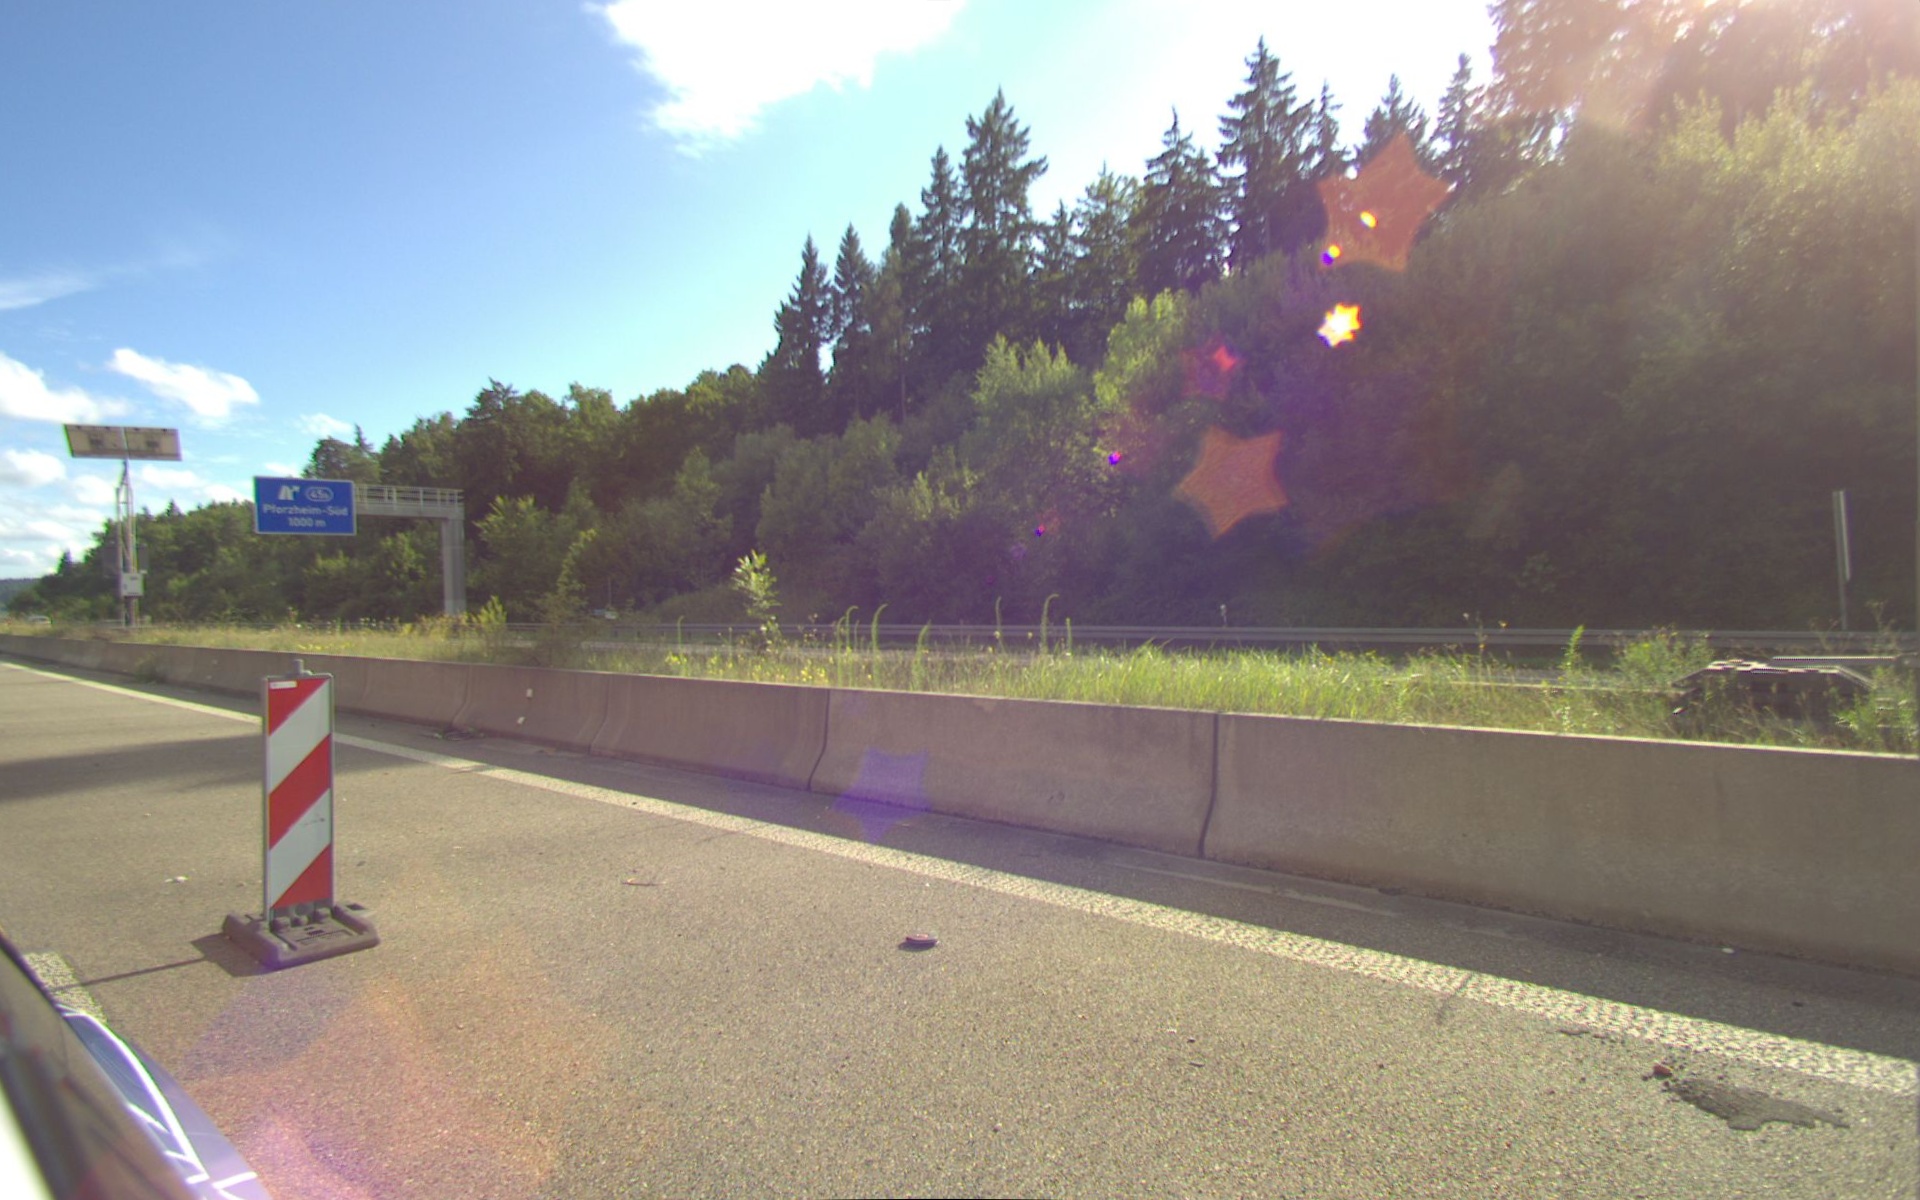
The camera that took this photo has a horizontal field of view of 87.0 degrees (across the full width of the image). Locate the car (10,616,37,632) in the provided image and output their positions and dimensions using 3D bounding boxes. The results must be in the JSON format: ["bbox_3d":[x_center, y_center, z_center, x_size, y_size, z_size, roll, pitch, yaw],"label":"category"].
[{"bbox_3d":[-98.278,2.480,106.211,3.909,1.593,1.644,-1,0,40],"label":"car"}]
